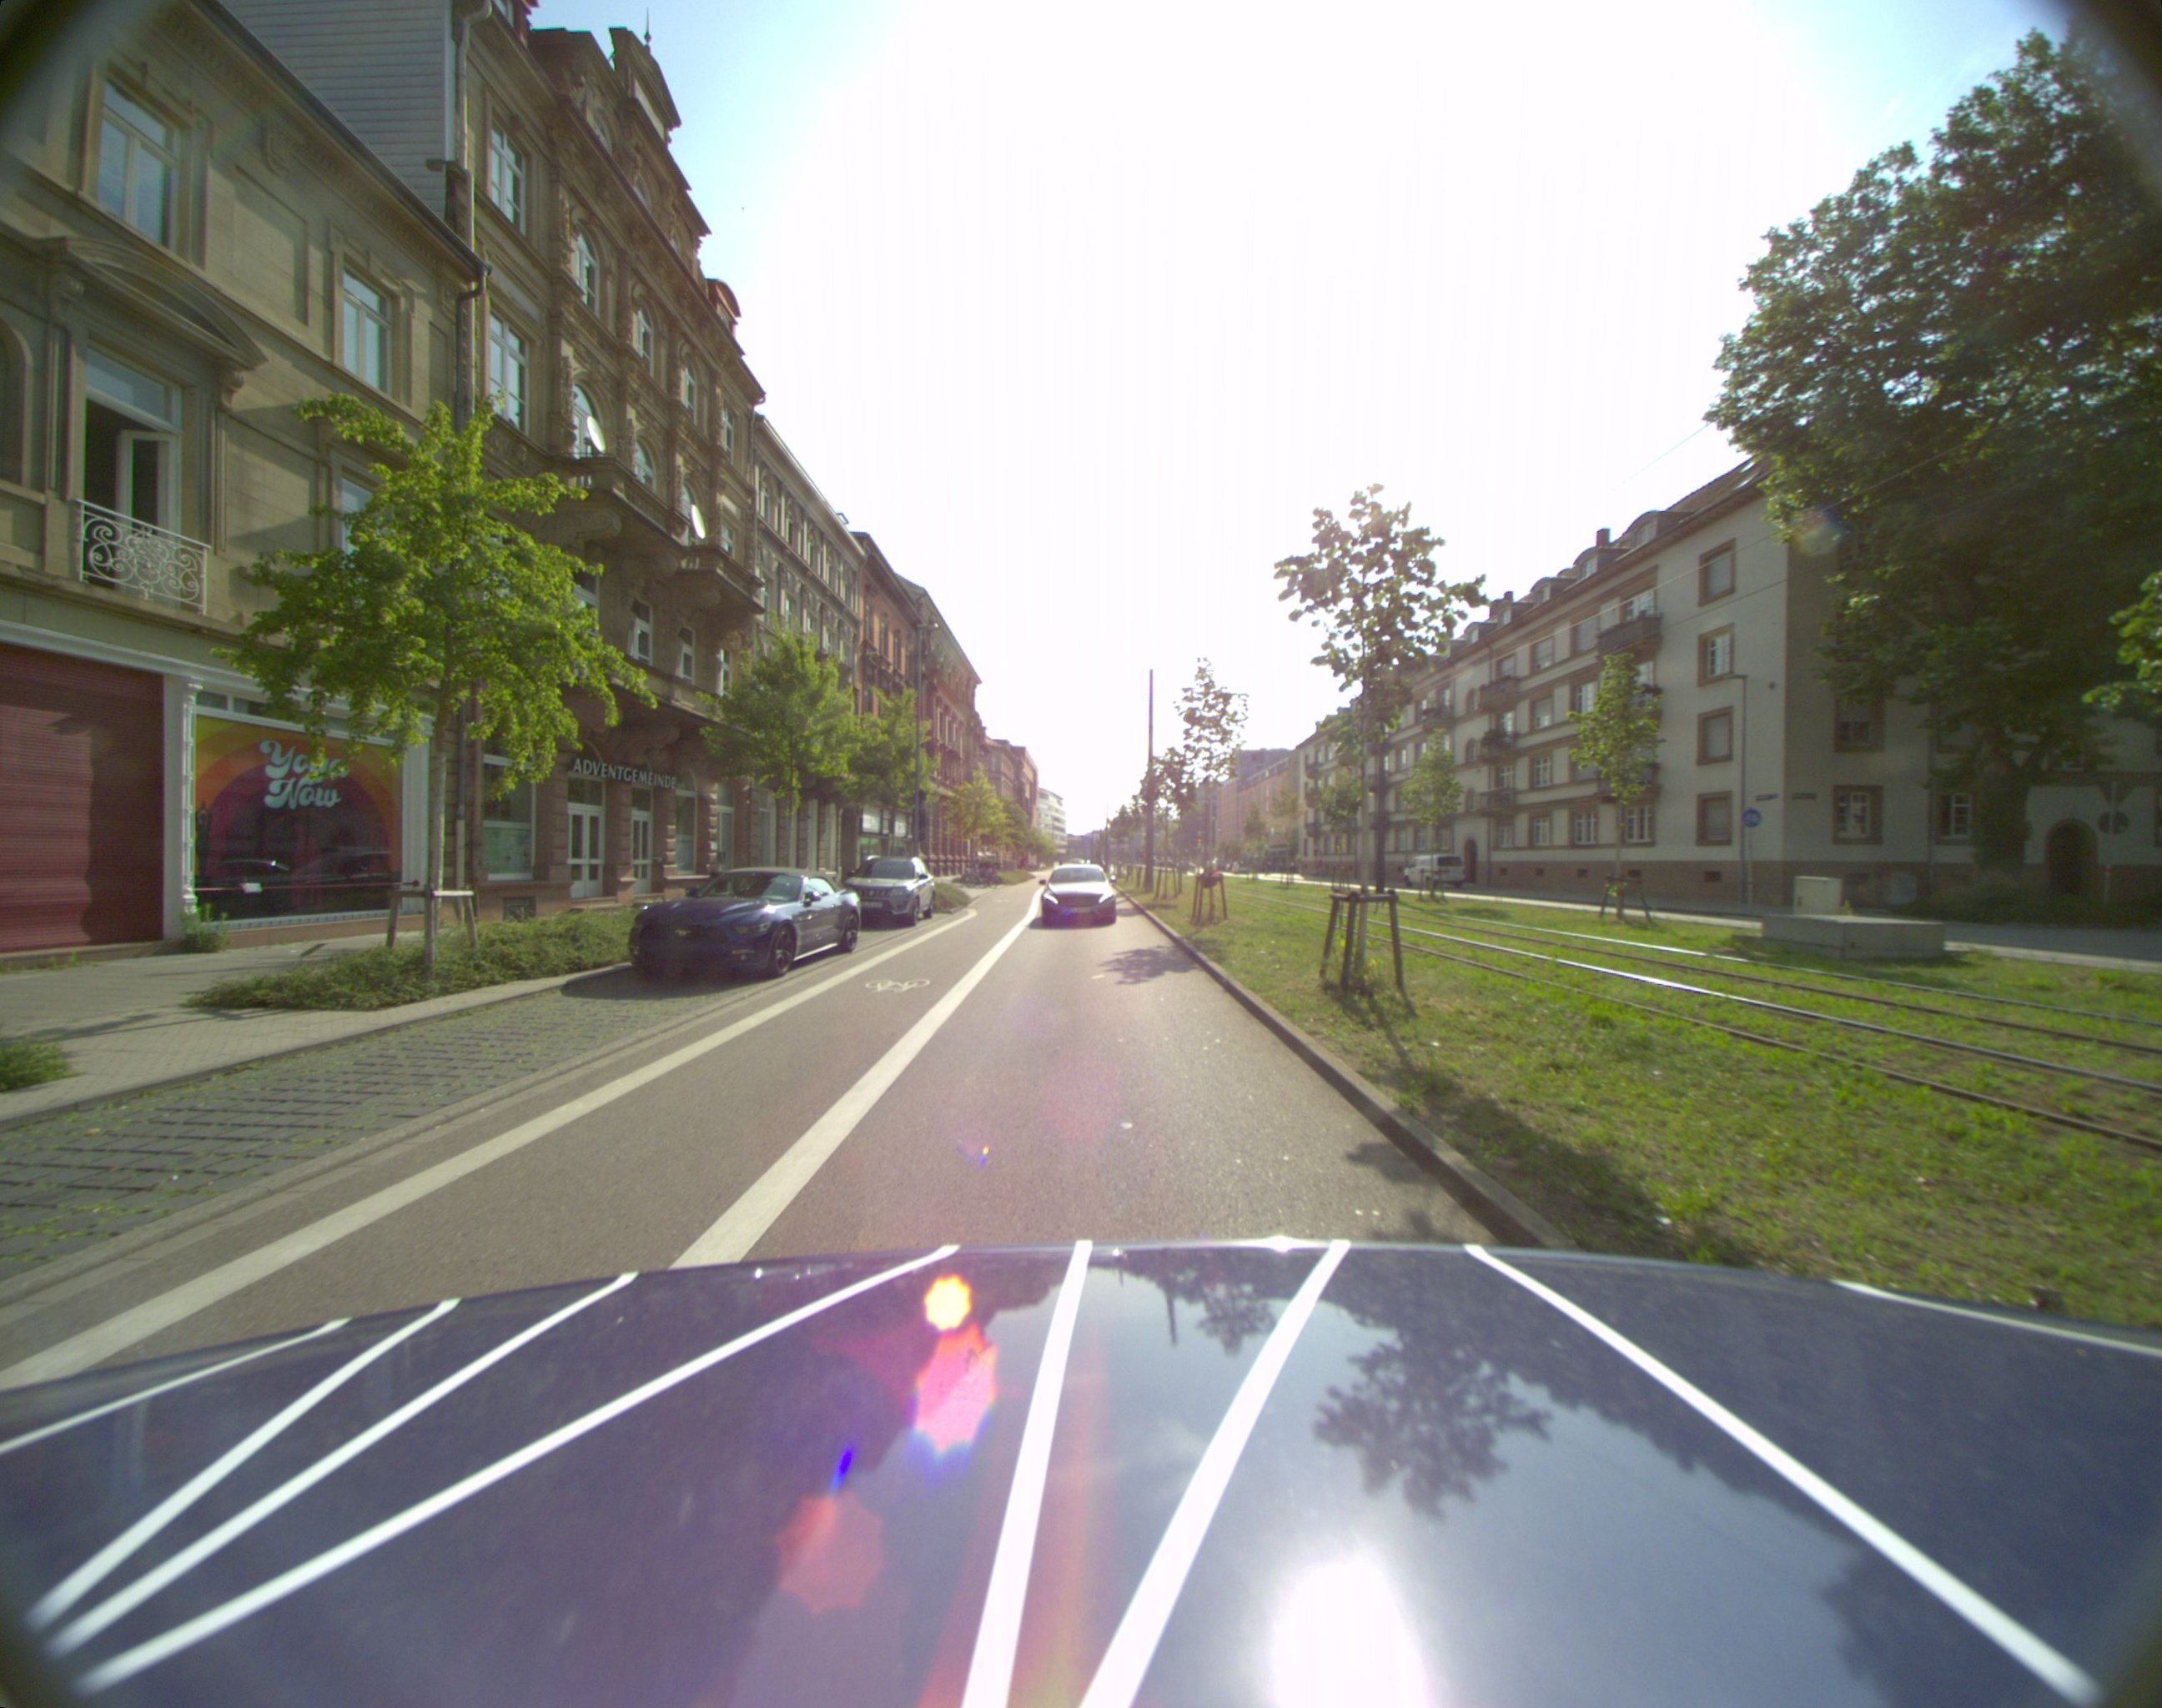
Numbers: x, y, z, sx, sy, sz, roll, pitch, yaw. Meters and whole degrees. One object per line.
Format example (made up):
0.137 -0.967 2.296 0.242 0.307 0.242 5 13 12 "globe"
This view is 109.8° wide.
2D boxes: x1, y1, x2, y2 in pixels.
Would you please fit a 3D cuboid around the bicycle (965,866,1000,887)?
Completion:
-5.278 1.192 40.718 1.789 1.048 0.373 2 0 -1 "bicycle"

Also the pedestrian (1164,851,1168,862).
14.563 0.493 130.157 0.740 1.861 0.939 1 1 4 "pedestrian"

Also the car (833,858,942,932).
-4.643 0.919 18.882 1.774 1.579 4.246 2 0 -3 "car"

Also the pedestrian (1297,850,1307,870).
24.004 0.645 82.503 0.844 2.056 1.157 -1 0 1 "pedestrian"

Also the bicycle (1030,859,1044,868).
-5.863 1.321 101.287 1.759 1.081 0.669 4 0 6 "bicycle"

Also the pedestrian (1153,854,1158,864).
14.157 1.024 144.601 0.807 1.875 0.555 0 1 0 "pedestrian"

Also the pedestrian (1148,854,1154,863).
14.275 0.851 153.945 0.787 1.736 0.833 2 1 -36 "pedestrian"

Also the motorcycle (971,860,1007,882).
-5.592 1.023 46.145 2.046 1.279 0.703 2 -1 -35 "motorcycle"

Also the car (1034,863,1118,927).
-0.111 0.962 19.609 1.907 1.384 4.236 -1 0 0 "car"

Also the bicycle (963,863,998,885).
-5.553 1.104 42.024 1.812 1.089 0.671 2 0 -5 "bicycle"

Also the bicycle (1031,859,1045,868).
-5.814 1.276 102.748 1.763 1.081 0.671 4 0 -22 "bicycle"

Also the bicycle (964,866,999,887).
-5.285 1.196 40.322 1.789 1.048 0.373 2 0 -1 "bicycle"

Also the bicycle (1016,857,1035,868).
-5.591 0.850 76.814 1.780 0.947 0.507 3 1 20 "bicycle"

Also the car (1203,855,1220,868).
20.731 1.160 120.952 1.998 1.884 5.047 1 0 2 "car"

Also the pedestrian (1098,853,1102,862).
3.542 0.611 141.919 0.675 1.747 0.727 -2 1 0 "pedestrian"

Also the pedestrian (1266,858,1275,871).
23.066 1.304 92.404 0.808 1.574 0.679 0 0 -16 "pedestrian"

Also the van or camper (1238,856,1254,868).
26.614 1.240 122.655 1.934 1.956 4.001 0 0 5 "van or camper"

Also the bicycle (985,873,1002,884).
-5.171 1.441 45.034 0.960 0.606 0.360 2 1 2 "bicycle"

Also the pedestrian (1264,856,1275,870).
24.805 1.142 100.077 1.073 1.857 0.862 0 1 -27 "pedestrian"

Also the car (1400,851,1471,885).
21.313 0.792 45.944 1.998 1.907 5.153 -1 0 1 "car"

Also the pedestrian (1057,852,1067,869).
-1.984 0.702 81.124 0.992 1.795 0.864 2 -1 1 "pedestrian"

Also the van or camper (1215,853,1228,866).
31.890 1.220 172.160 1.998 2.785 5.353 1 0 1 "van or camper"

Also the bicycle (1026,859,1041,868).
-6.212 1.245 99.433 1.756 1.081 0.583 2 0 4 "bicycle"

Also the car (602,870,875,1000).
-4.676 1.005 11.296 1.740 1.388 4.715 2 0 2 "car"

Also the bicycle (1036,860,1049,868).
-5.265 1.364 103.946 1.761 1.081 0.657 4 0 -9 "bicycle"

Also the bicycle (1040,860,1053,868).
-4.791 1.367 105.509 1.761 1.081 0.610 4 0 -9 "bicycle"

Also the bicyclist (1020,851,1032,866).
-5.564 0.414 76.906 0.929 1.473 0.586 3 1 20 "bicyclist"
